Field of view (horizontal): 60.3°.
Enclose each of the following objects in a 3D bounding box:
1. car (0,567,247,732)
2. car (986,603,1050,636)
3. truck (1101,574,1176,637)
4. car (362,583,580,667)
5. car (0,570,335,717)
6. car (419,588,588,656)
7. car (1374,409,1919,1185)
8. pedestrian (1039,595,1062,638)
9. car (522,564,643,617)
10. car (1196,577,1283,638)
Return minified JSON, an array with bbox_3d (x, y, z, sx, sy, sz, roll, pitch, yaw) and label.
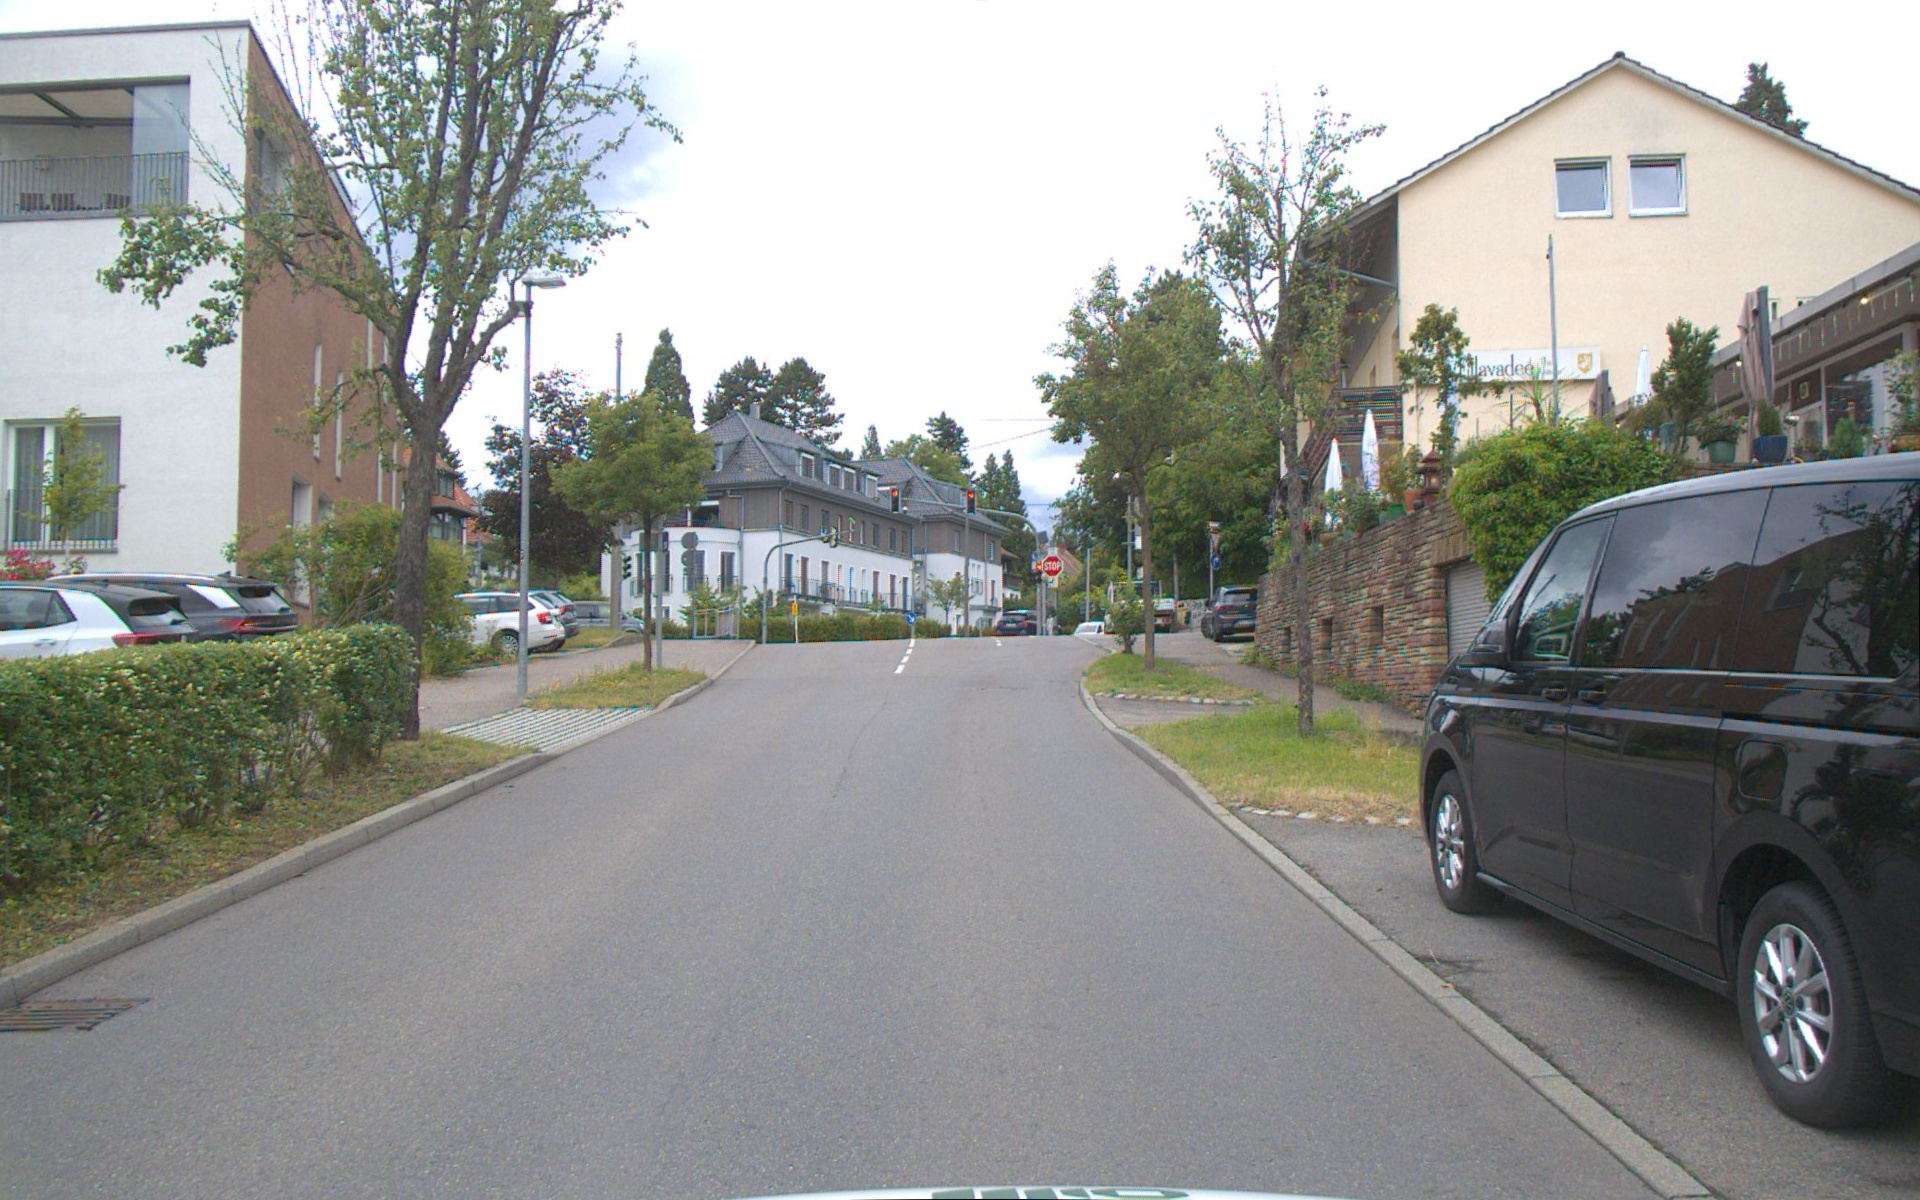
[{"bbox_3d":[-10.067,0.511,17.297,4.298,1.594,2.065,-1,0,-3],"label":"car"},{"bbox_3d":[2.849,0.915,80.100,2.108,1.517,4.716,0,0,15],"label":"car"},{"bbox_3d":[6.959,0.271,65.080,2.139,2.234,5.878,0,-3,-2],"label":"truck"},{"bbox_3d":[-10.598,0.548,36.125,4.176,1.651,2.012,-2,-1,-4],"label":"car"},{"bbox_3d":[-9.877,0.496,19.952,3.905,1.682,2.008,0,0,0],"label":"car"},{"bbox_3d":[-11.024,0.513,40.132,3.688,1.489,1.729,-2,1,-7],"label":"car"},{"bbox_3d":[3.224,0.453,6.326,1.897,1.870,5.218,-1,0,-1],"label":"car"},{"bbox_3d":[3.728,0.674,67.976,0.689,1.711,0.680,-1,0,-25],"label":"pedestrian"},{"bbox_3d":[-14.843,-0.386,64.962,4.429,2.049,1.988,-1,0,-21],"label":"car"},{"bbox_3d":[7.626,0.201,45.500,1.810,1.498,4.387,-3,0,3],"label":"car"}]
